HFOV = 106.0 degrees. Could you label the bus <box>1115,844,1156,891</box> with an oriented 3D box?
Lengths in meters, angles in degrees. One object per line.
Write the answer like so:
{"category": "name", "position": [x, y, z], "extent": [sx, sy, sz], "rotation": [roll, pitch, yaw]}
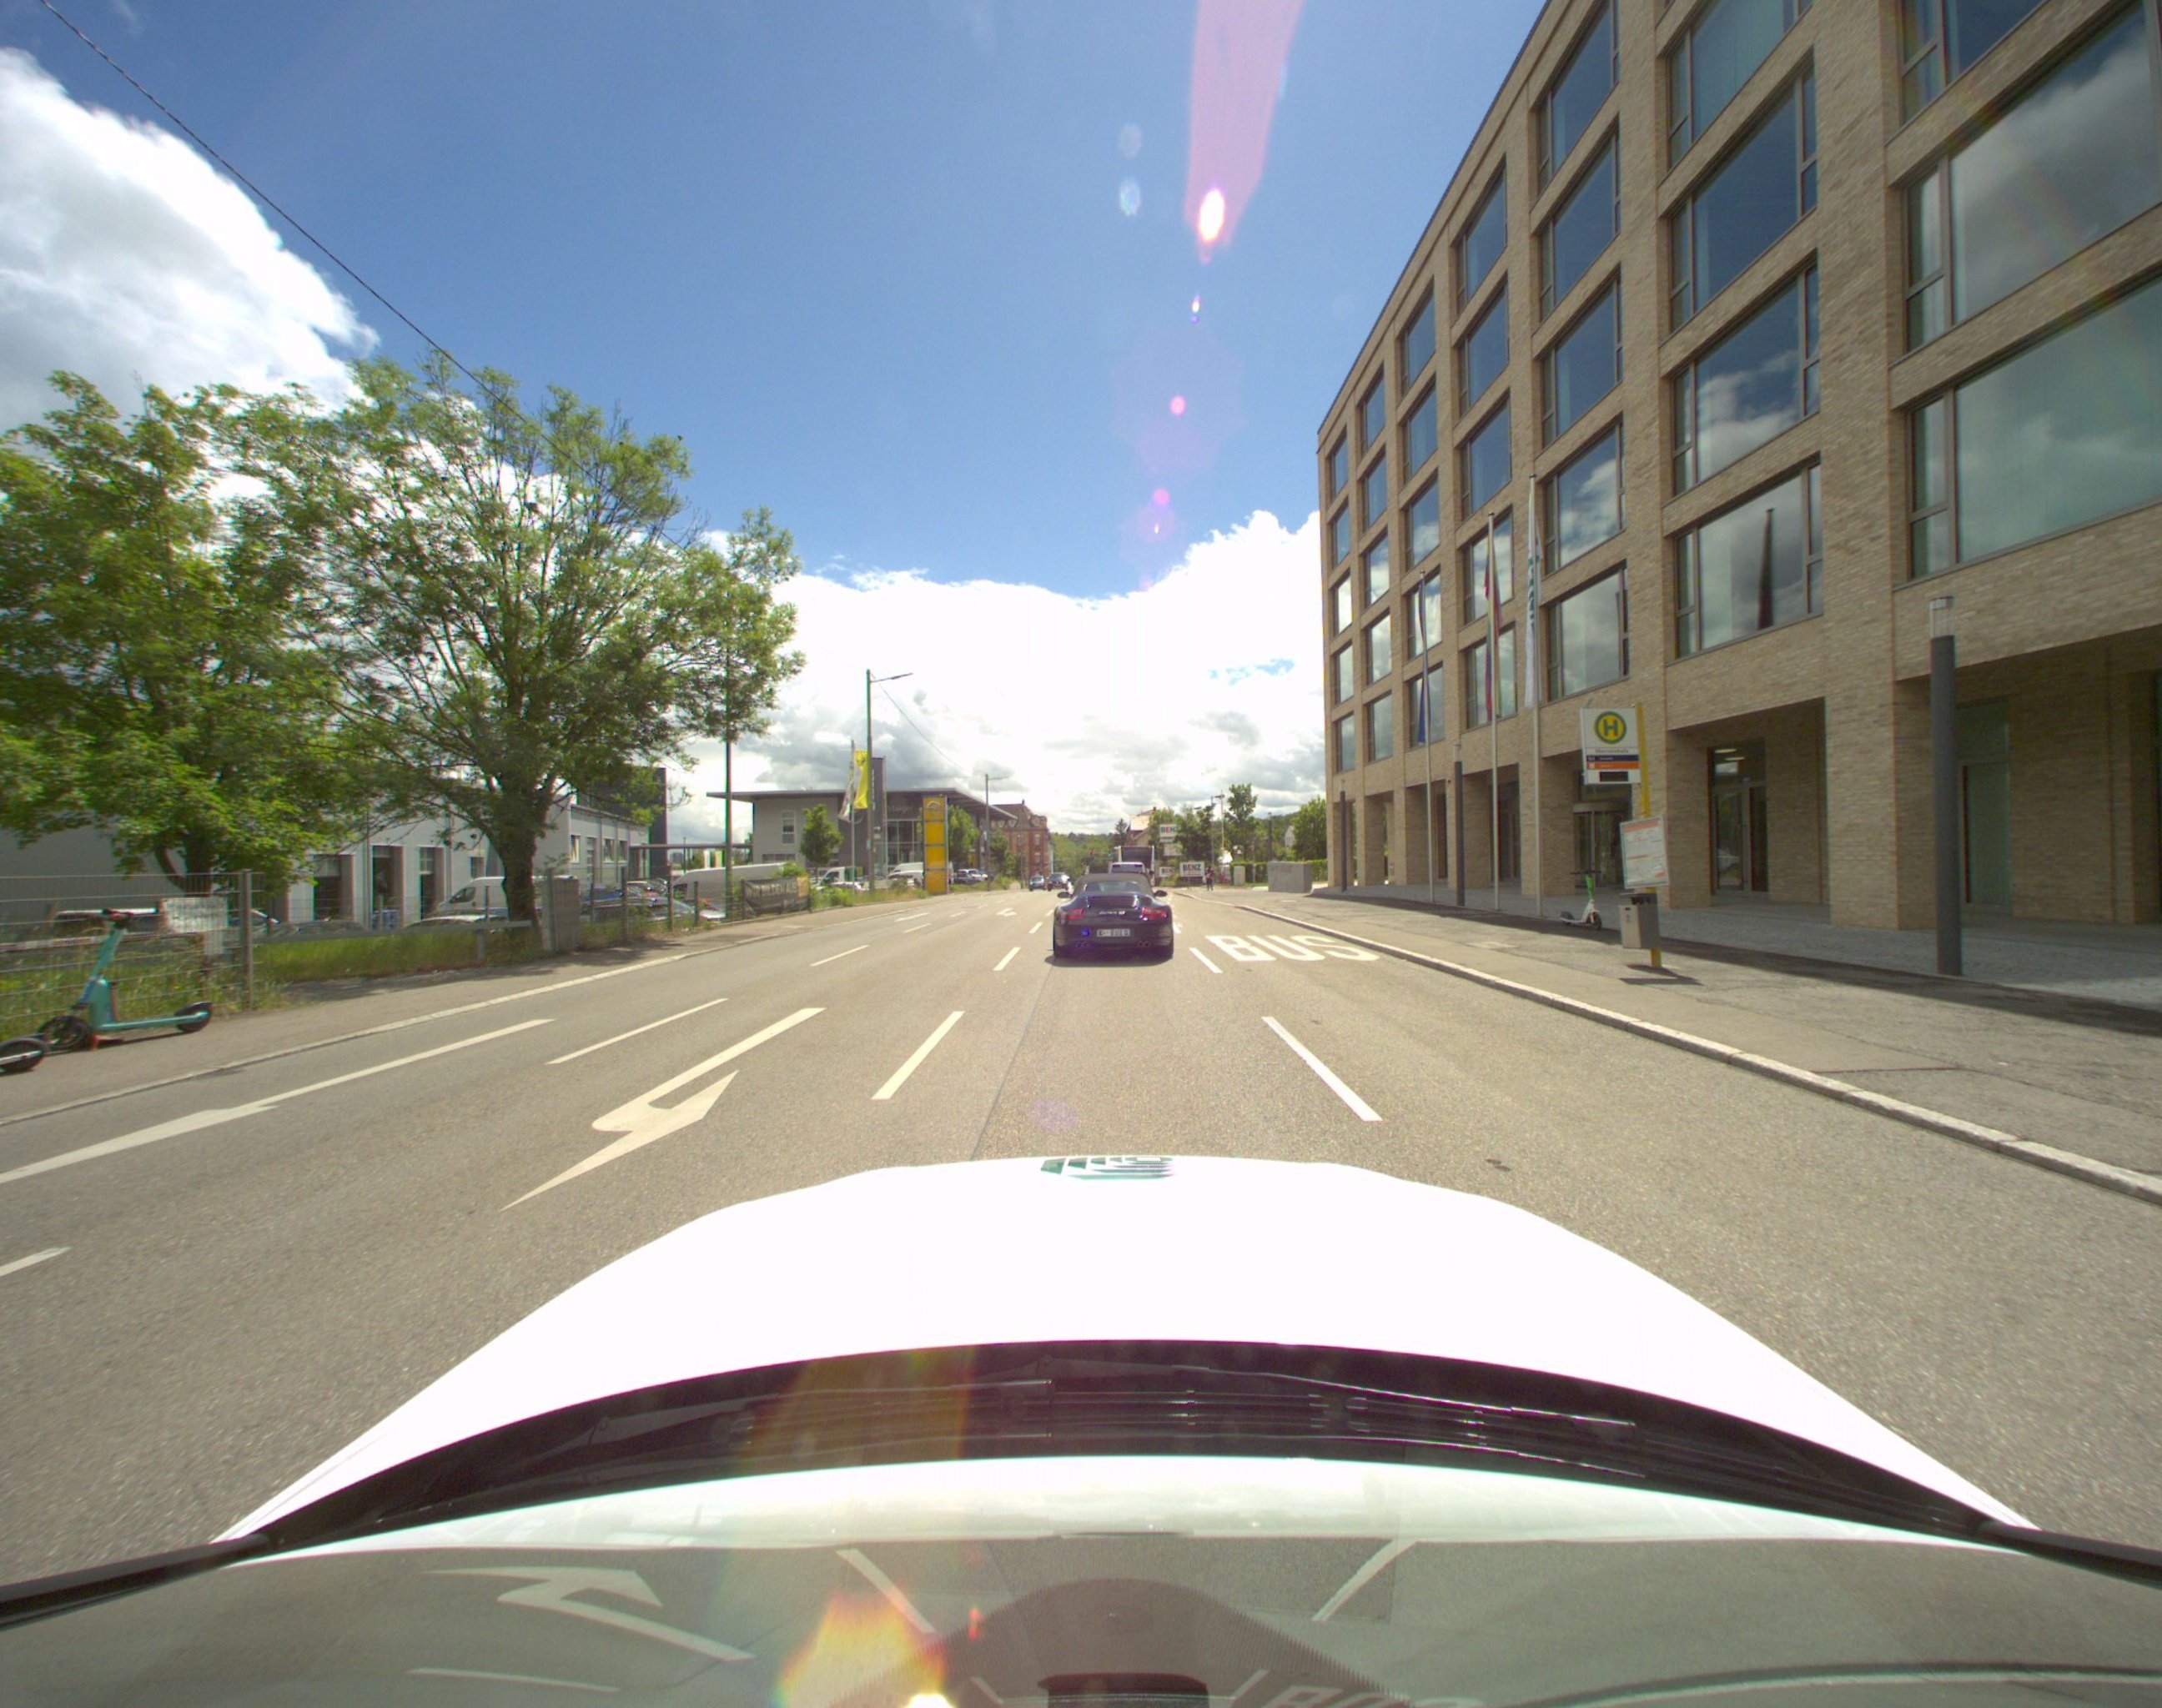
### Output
{"category": "bus", "position": [4.094, 0.918, 62.757], "extent": [2.791, 3.198, 12.204], "rotation": [-1, 0, 3]}

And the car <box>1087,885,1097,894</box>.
{"category": "car", "position": [2.218, 6.965, 161.221], "extent": [1.858, 1.666, 4.258], "rotation": [-1, -2, 0]}

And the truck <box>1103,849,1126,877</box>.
{"category": "truck", "position": [4.069, 1.189, 99.902], "extent": [2.657, 3.108, 9.036], "rotation": [-2, -2, 2]}

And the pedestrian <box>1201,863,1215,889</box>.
{"category": "pedestrian", "position": [7.477, 1.306, 48.077], "extent": [0.685, 1.536, 0.856], "rotation": [-2, -1, 1]}

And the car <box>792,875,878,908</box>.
{"category": "car", "position": [-12.744, 1.953, 42.340], "extent": [3.872, 1.610, 1.928], "rotation": [-1, -2, 0]}

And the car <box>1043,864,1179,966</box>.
{"category": "car", "position": [0.515, 0.903, 13.801], "extent": [1.923, 1.376, 4.210], "rotation": [-1, 0, 2]}

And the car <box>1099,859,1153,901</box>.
{"category": "car", "position": [1.767, 1.008, 33.508], "extent": [1.925, 1.583, 4.206], "rotation": [-1, 0, -1]}

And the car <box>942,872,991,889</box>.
{"category": "car", "position": [-10.513, 2.416, 74.960], "extent": [1.877, 1.450, 4.862], "rotation": [-1, 0, 29]}

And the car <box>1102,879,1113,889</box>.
{"category": "car", "position": [5.115, 5.793, 157.253], "extent": [1.827, 1.882, 3.998], "rotation": [-2, -1, 0]}

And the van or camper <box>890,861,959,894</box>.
{"category": "van or camper", "position": [-12.657, 1.886, 66.066], "extent": [5.010, 2.531, 2.318], "rotation": [-1, 0, 0]}

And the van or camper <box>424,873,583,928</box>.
{"category": "van or camper", "position": [-28.506, 2.236, 40.479], "extent": [5.897, 2.355, 2.488], "rotation": [-1, 0, -18]}

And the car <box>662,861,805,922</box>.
{"category": "car", "position": [-12.391, 1.300, 29.291], "extent": [4.148, 2.013, 2.197], "rotation": [-1, 0, -2]}

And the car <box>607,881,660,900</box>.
{"category": "car", "position": [-36.443, 2.975, 66.378], "extent": [3.476, 1.398, 1.653], "rotation": [-1, 0, -17]}

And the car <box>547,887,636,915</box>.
{"category": "car", "position": [-29.020, 2.757, 48.418], "extent": [4.245, 1.497, 1.914], "rotation": [0, -2, -22]}

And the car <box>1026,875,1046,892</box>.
{"category": "car", "position": [-4.802, 3.137, 87.121], "extent": [1.738, 1.595, 4.041], "rotation": [-4, -1, 0]}

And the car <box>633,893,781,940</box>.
{"category": "car", "position": [-12.329, 2.041, 27.049], "extent": [4.021, 1.386, 1.927], "rotation": [-1, -2, -1]}

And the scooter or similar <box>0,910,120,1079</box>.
{"category": "scooter or similar", "position": [-8.715, 1.121, 6.346], "extent": [0.530, 1.262, 1.478], "rotation": [0, -1, 19]}

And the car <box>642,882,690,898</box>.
{"category": "car", "position": [-36.327, 3.139, 71.432], "extent": [3.476, 1.284, 1.653], "rotation": [-1, 0, -17]}

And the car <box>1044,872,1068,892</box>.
{"category": "car", "position": [-2.065, 2.301, 67.285], "extent": [1.824, 1.509, 4.275], "rotation": [-2, -2, 0]}

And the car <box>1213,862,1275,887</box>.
{"category": "car", "position": [13.659, 1.755, 68.419], "extent": [4.702, 1.848, 2.084], "rotation": [-2, -2, -7]}

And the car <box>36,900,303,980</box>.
{"category": "car", "position": [-25.330, 2.315, 22.988], "extent": [1.829, 1.728, 4.920], "rotation": [-2, -1, 3]}

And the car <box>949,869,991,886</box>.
{"category": "car", "position": [-10.795, 2.269, 79.746], "extent": [1.913, 1.573, 4.578], "rotation": [-2, -2, 24]}

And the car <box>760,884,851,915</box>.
{"category": "car", "position": [-12.553, 2.054, 37.213], "extent": [3.529, 1.325, 1.713], "rotation": [-1, -2, 4]}

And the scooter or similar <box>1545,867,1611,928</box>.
{"category": "scooter or similar", "position": [9.897, 0.844, 16.261], "extent": [0.425, 1.153, 1.404], "rotation": [-2, -1, 1]}

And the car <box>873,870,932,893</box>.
{"category": "car", "position": [-13.900, 2.133, 63.472], "extent": [3.966, 1.706, 2.004], "rotation": [-1, 0, 6]}

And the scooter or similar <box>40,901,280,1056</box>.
{"category": "scooter or similar", "position": [-8.766, 1.123, 7.845], "extent": [0.532, 1.266, 1.474], "rotation": [0, 0, 7]}

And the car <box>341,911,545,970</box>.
{"category": "car", "position": [-16.962, 2.292, 21.802], "extent": [4.017, 1.386, 1.825], "rotation": [-1, -2, 2]}

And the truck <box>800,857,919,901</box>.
{"category": "truck", "position": [-12.136, 1.409, 44.964], "extent": [5.846, 2.148, 2.474], "rotation": [-2, -2, -2]}

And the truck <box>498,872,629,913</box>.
{"category": "truck", "position": [-31.743, 2.338, 50.260], "extent": [6.313, 2.229, 2.683], "rotation": [-1, -3, -20]}
